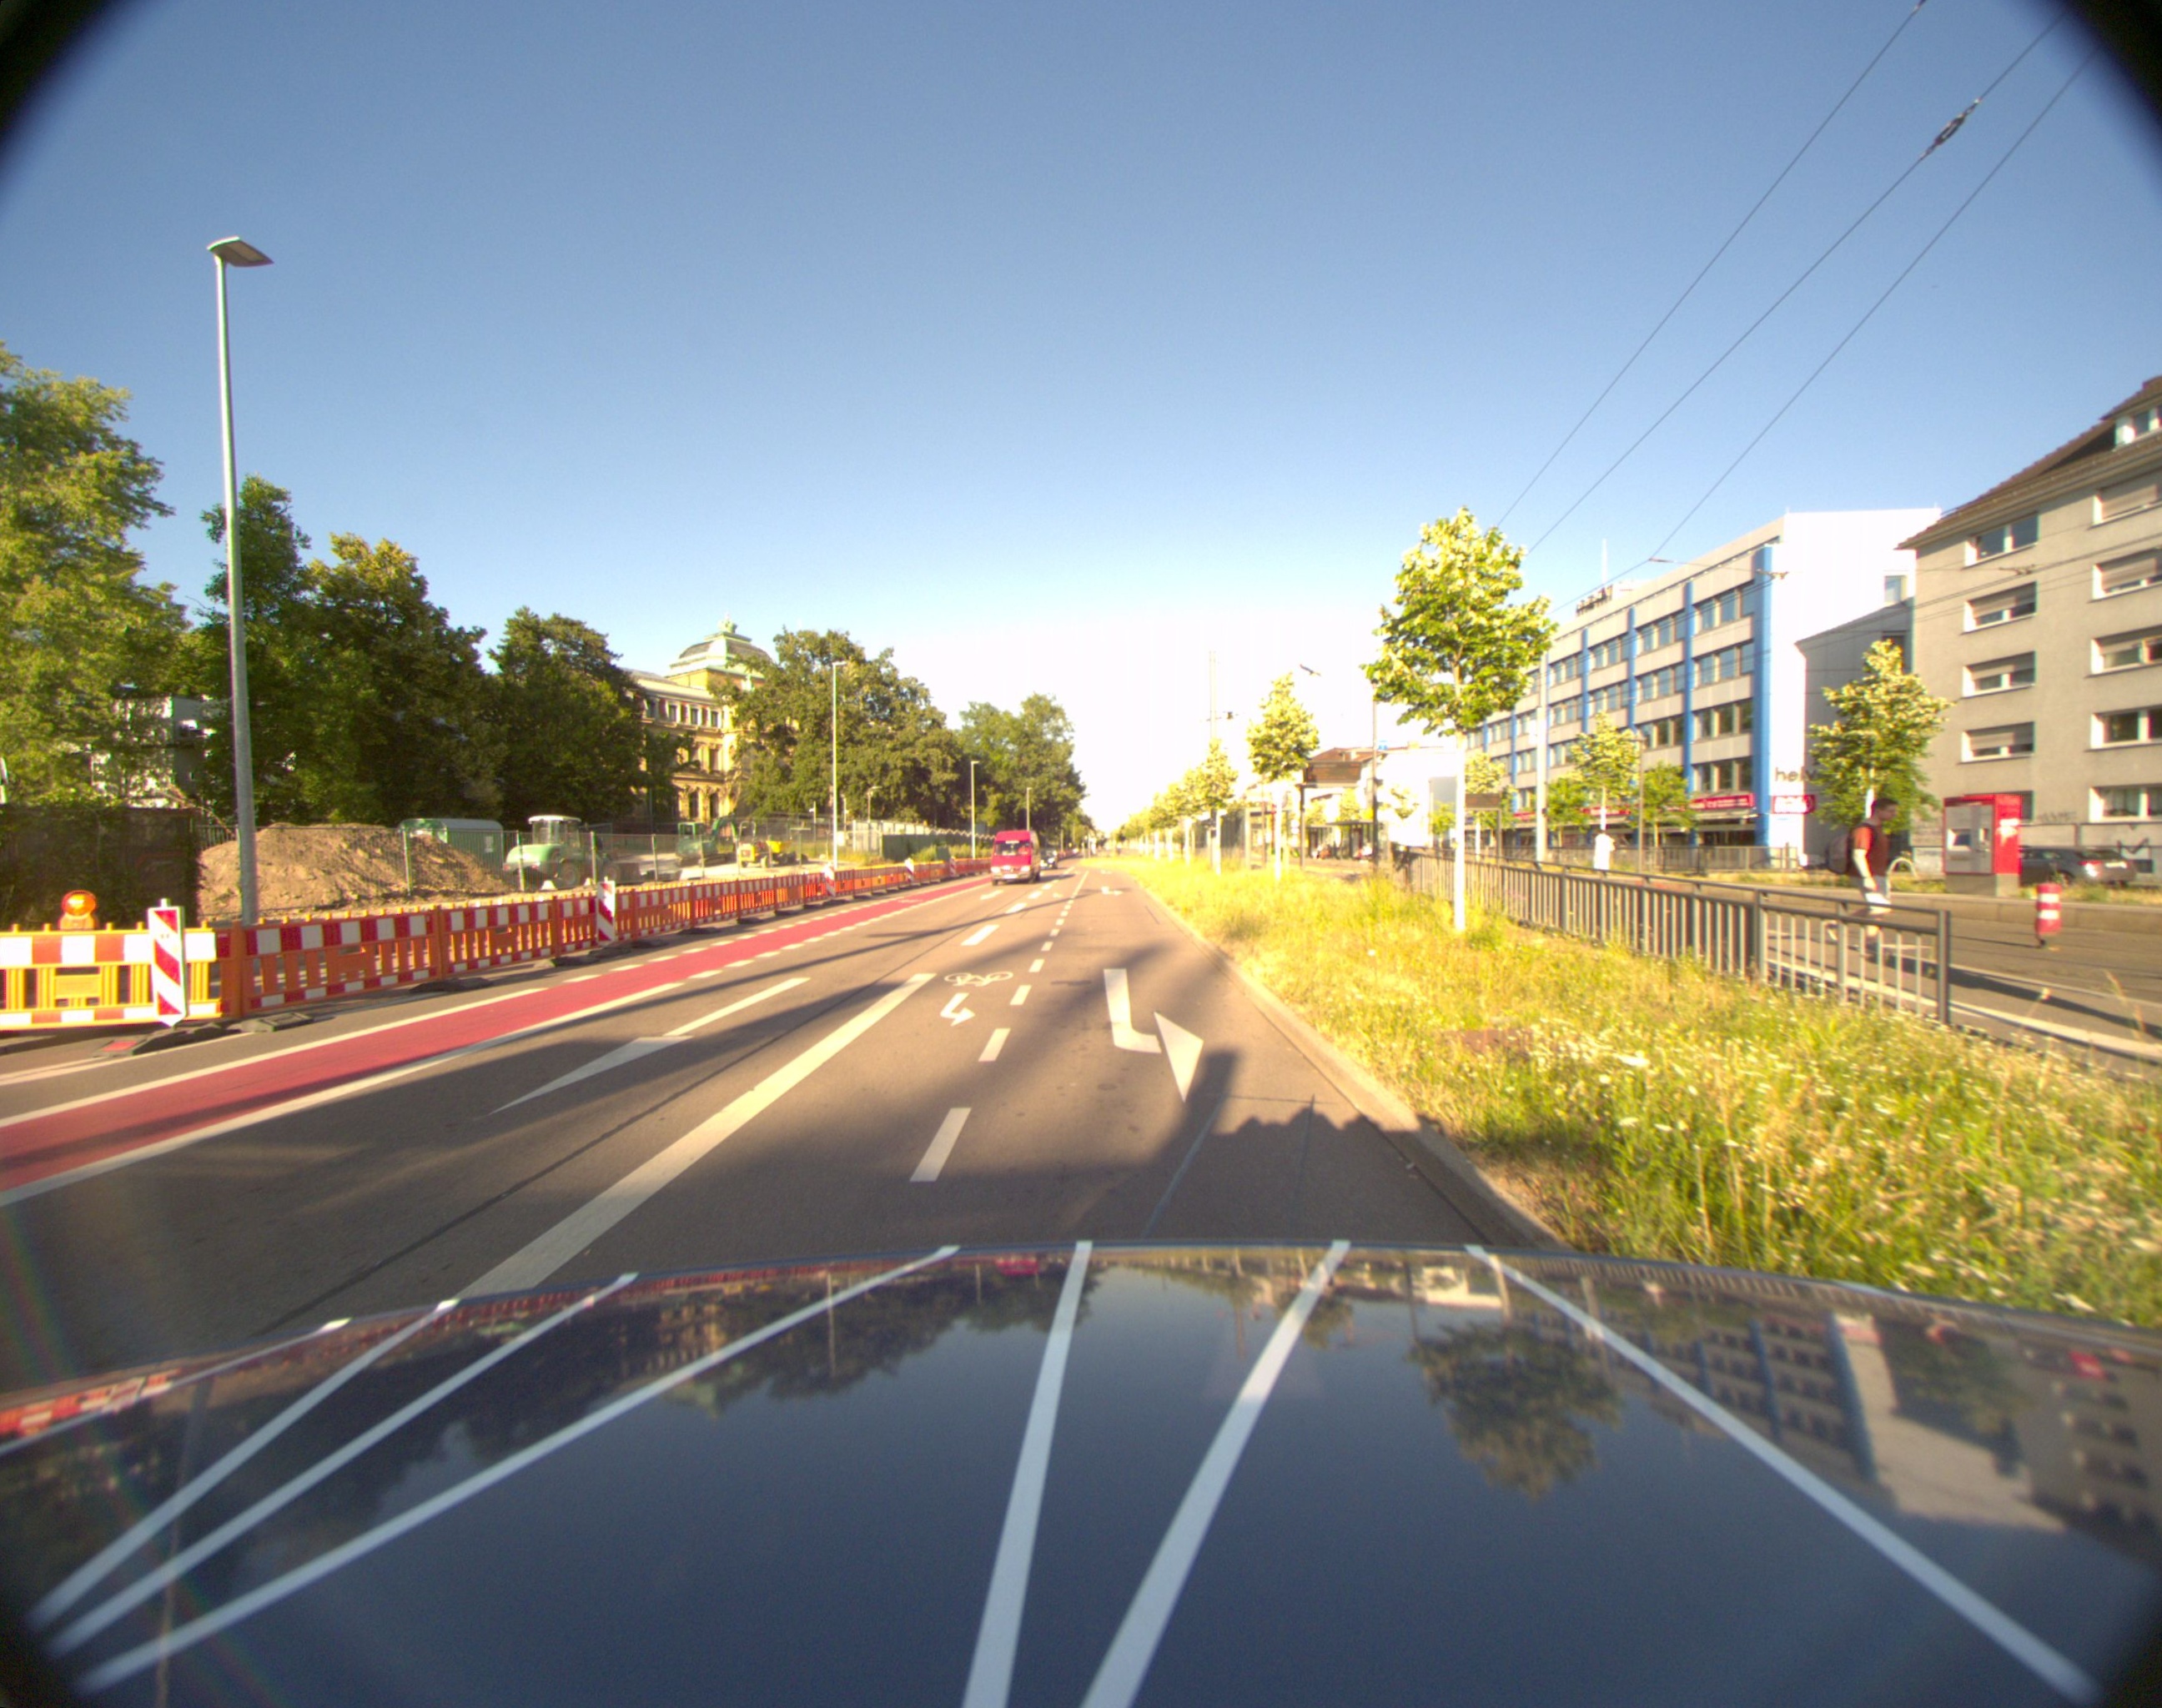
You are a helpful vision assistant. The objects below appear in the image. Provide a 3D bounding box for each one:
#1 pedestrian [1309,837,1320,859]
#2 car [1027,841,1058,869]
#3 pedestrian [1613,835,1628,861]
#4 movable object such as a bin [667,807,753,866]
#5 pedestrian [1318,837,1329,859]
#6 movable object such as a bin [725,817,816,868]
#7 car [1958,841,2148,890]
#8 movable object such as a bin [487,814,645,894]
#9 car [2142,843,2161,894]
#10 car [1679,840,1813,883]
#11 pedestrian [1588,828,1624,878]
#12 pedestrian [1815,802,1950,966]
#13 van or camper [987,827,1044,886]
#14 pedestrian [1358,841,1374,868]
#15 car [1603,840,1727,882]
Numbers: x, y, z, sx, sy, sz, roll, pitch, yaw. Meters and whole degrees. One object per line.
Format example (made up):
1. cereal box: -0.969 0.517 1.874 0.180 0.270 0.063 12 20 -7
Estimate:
1. pedestrian: 18.856 -0.491 61.336 0.659 1.683 0.772 -2 2 4
2. car: -2.977 0.043 57.879 2.000 2.002 3.996 -2 1 -8
3. pedestrian: 36.440 -0.432 51.325 0.645 1.736 0.599 -2 2 8
4. movable object such as a bin: -22.276 -1.041 45.900 1.998 3.311 5.376 -2 1 6
5. pedestrian: 18.819 -0.445 59.029 0.659 1.683 0.772 -2 2 7
6. movable object such as a bin: -18.496 -0.708 45.657 1.997 2.800 5.870 -2 1 11
7. car: 33.299 0.348 26.203 1.886 1.499 3.673 -2 1 1
8. movable object such as a bin: -18.937 -0.046 28.311 1.998 2.668 5.014 -2 1 6
9. car: 33.303 0.441 21.340 1.886 1.499 3.673 -2 1 1
10. car: 26.237 0.254 30.168 1.886 1.499 3.942 -2 1 1
11. pedestrian: 18.074 -0.043 26.155 0.787 1.663 0.619 -2 2 4
12. pedestrian: 8.669 0.312 8.244 0.787 1.689 0.619 -2 2 4
13. van or camper: -3.017 0.059 36.556 1.998 2.514 5.913 -2 1 1
14. pedestrian: 18.408 0.034 49.110 0.660 1.683 0.772 -2 2 -1
15. car: 22.931 0.227 30.032 1.886 1.499 3.942 -2 1 1
